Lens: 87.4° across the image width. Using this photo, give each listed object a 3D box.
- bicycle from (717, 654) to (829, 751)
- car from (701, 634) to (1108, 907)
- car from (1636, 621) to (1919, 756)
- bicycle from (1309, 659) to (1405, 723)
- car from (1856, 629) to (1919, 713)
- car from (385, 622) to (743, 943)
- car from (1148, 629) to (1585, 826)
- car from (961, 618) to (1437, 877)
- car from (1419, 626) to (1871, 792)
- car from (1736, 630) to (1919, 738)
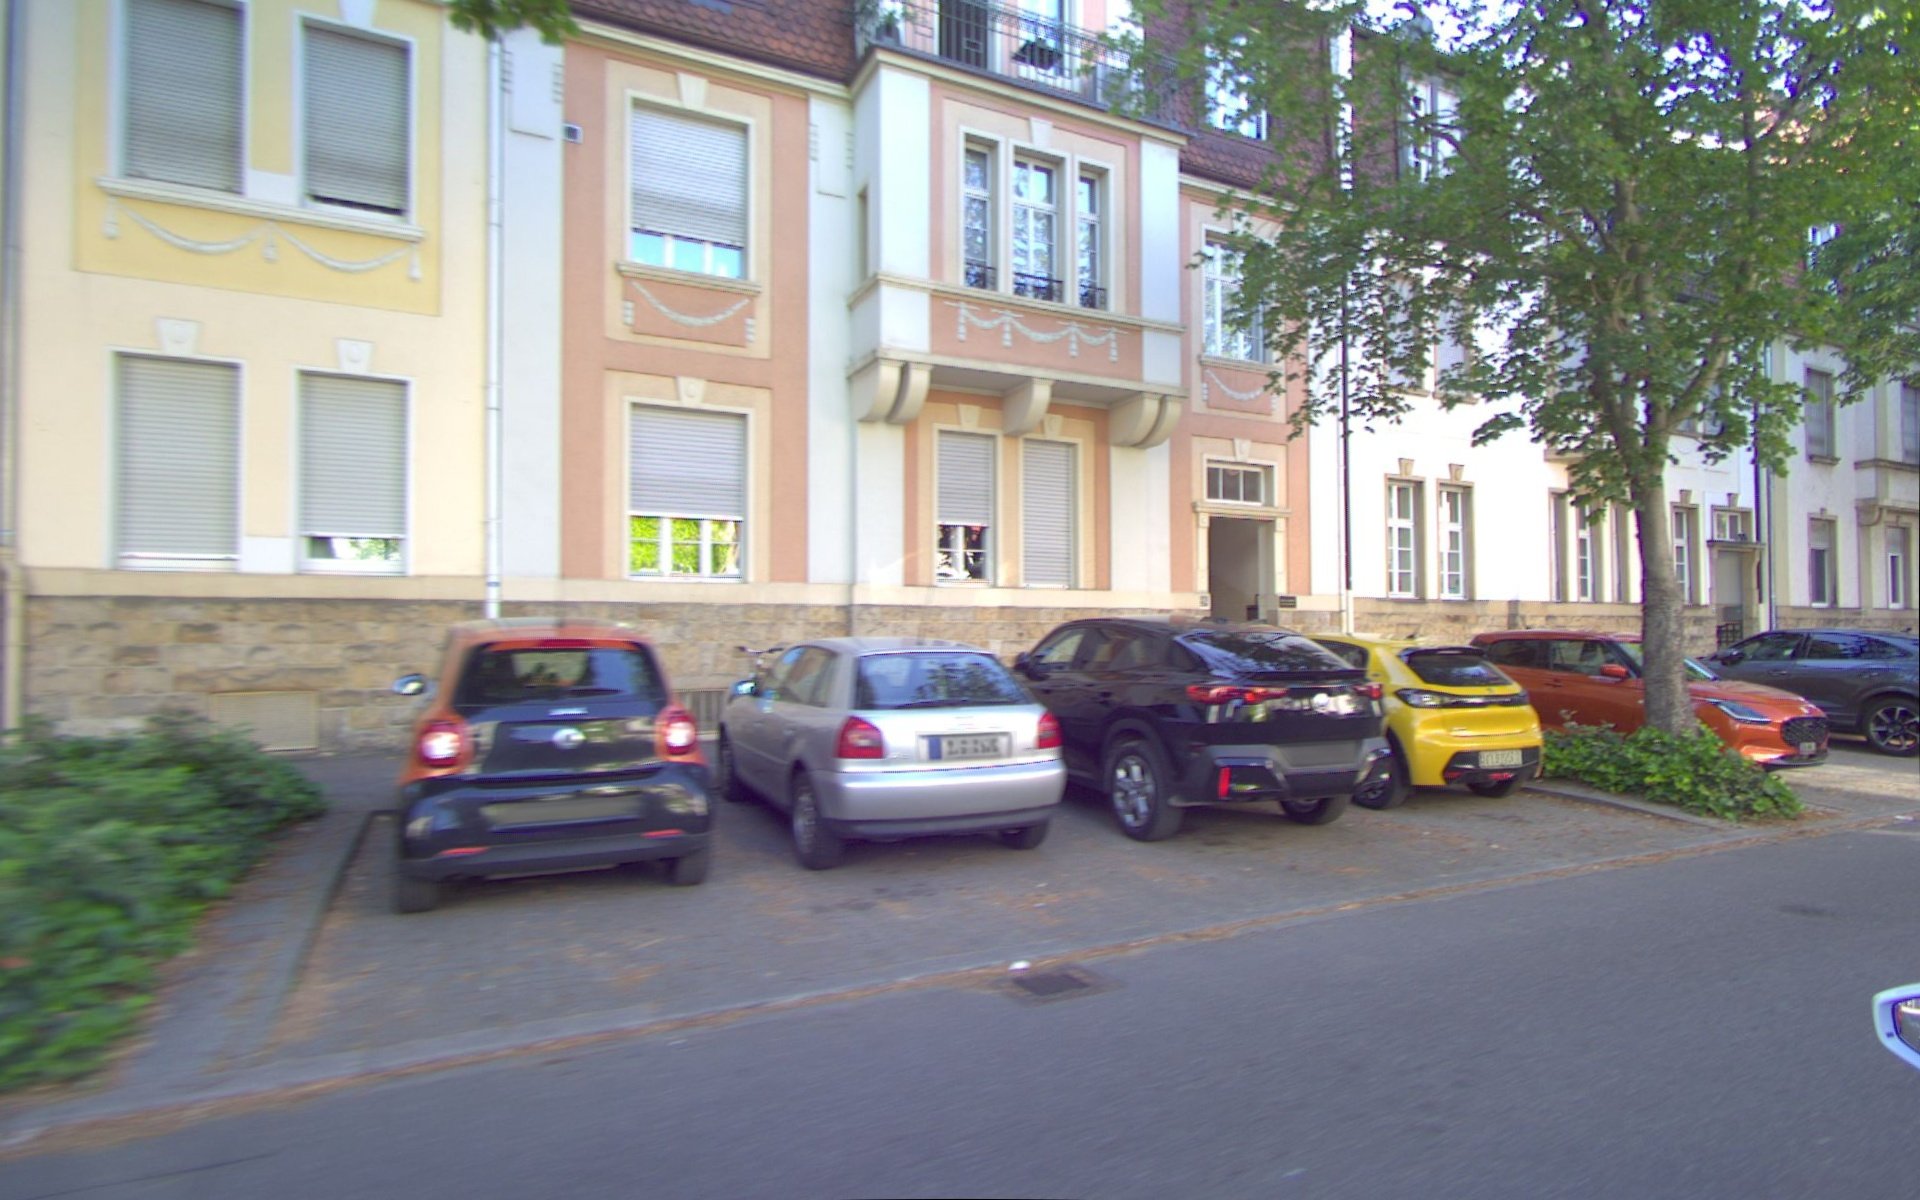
[{"bbox_3d":[-2.214,1.191,11.896,1.238,1.079,0.431,1,-2,-27],"label":"bicycle"},{"bbox_3d":[-0.716,1.014,7.719,1.805,1.422,3.976,1,-1,-25],"label":"car"},{"bbox_3d":[11.844,1.110,13.716,1.835,1.613,3.973,1,-1,-27],"label":"car"},{"bbox_3d":[6.377,1.441,16.127,1.477,0.944,0.623,2,0,-28],"label":"bicycle"},{"bbox_3d":[18.178,1.240,17.150,1.721,1.467,3.969,1,-2,-30],"label":"car"},{"bbox_3d":[-2.790,0.983,6.981,1.699,1.527,3.977,1,-3,-25],"label":"car"},{"bbox_3d":[3.710,1.048,9.871,1.838,1.481,3.779,1,-1,-25],"label":"car"},{"bbox_3d":[1.665,0.957,8.393,1.838,1.587,3.976,1,-1,-25],"label":"car"},{"bbox_3d":[7.532,1.077,11.514,1.724,1.534,3.974,2,-2,-26],"label":"car"},{"bbox_3d":[14.051,1.201,14.706,1.832,1.465,3.896,1,-1,-21],"label":"car"}]
